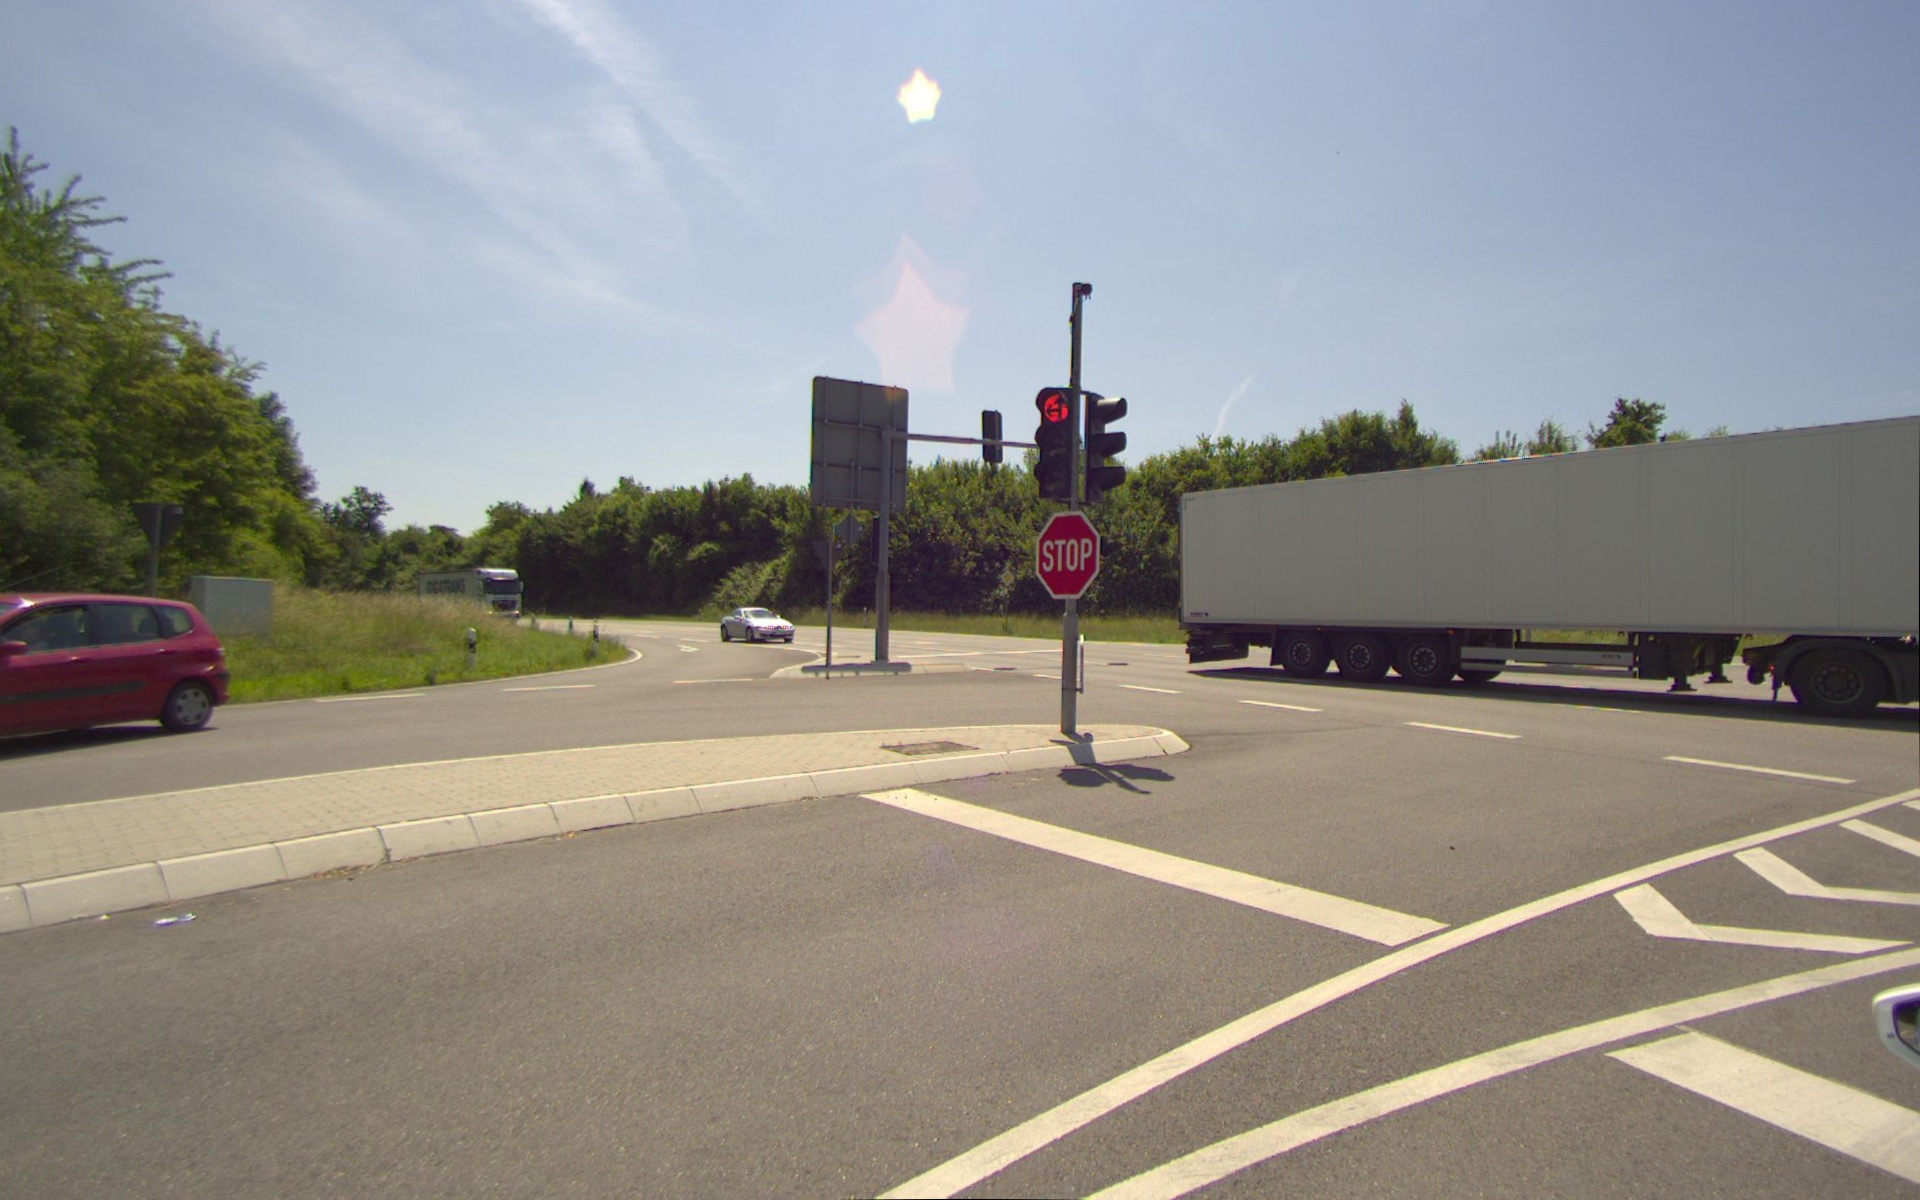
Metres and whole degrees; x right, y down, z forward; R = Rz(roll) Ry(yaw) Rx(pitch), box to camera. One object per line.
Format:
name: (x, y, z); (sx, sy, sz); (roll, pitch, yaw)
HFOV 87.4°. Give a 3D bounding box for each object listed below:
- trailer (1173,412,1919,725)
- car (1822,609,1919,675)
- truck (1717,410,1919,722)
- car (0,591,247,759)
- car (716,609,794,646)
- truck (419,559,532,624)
trailer: (10.107, -0.438, 18.430); (2.637, 4.090, 13.686); (0, 1, -38)
car: (21.869, 0.913, 22.963); (3.470, 1.389, 1.566); (0, 0, -14)
truck: (14.163, -0.448, 13.269); (2.637, 4.090, 6.212); (0, 0, -38)
car: (-9.456, 0.684, 10.015); (1.518, 1.519, 3.835); (2, 0, 11)
car: (-7.895, 1.023, 38.560); (1.430, 1.301, 3.791); (0, 0, -38)
truck: (-37.391, -0.522, 77.022); (3.122, 4.506, 16.245); (-1, 0, -43)
